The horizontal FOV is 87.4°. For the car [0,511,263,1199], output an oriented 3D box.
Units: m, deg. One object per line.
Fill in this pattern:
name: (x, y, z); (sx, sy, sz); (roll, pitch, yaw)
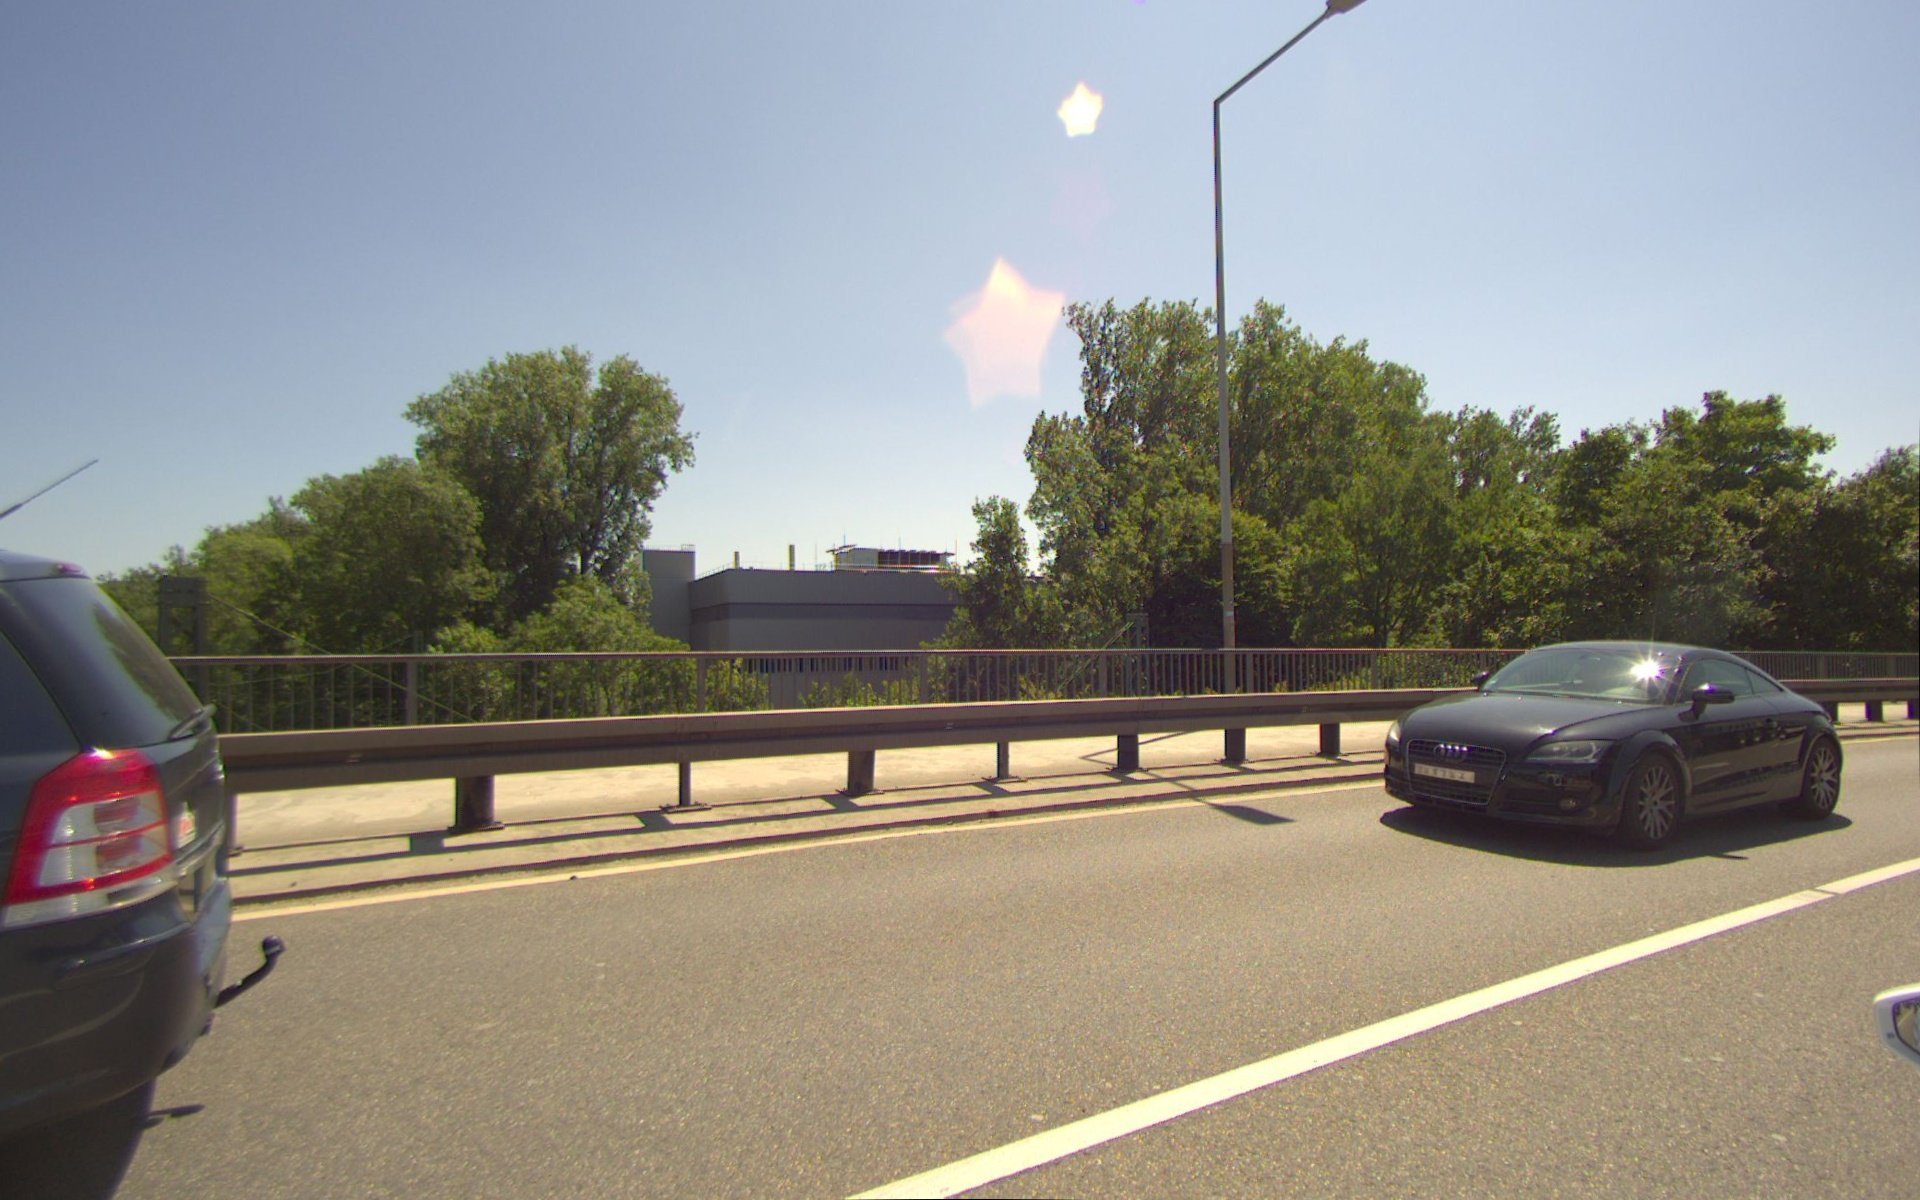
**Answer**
car: (-3.871, 0.613, 1.826); (4.209, 1.648, 1.696); (1, -1, -34)

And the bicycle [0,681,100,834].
bicycle: (-6.291, 0.925, 5.759); (1.969, 0.844, 0.585); (2, -1, -32)

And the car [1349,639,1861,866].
car: (5.030, 0.988, 7.744); (3.924, 1.325, 1.671); (1, -1, -29)
